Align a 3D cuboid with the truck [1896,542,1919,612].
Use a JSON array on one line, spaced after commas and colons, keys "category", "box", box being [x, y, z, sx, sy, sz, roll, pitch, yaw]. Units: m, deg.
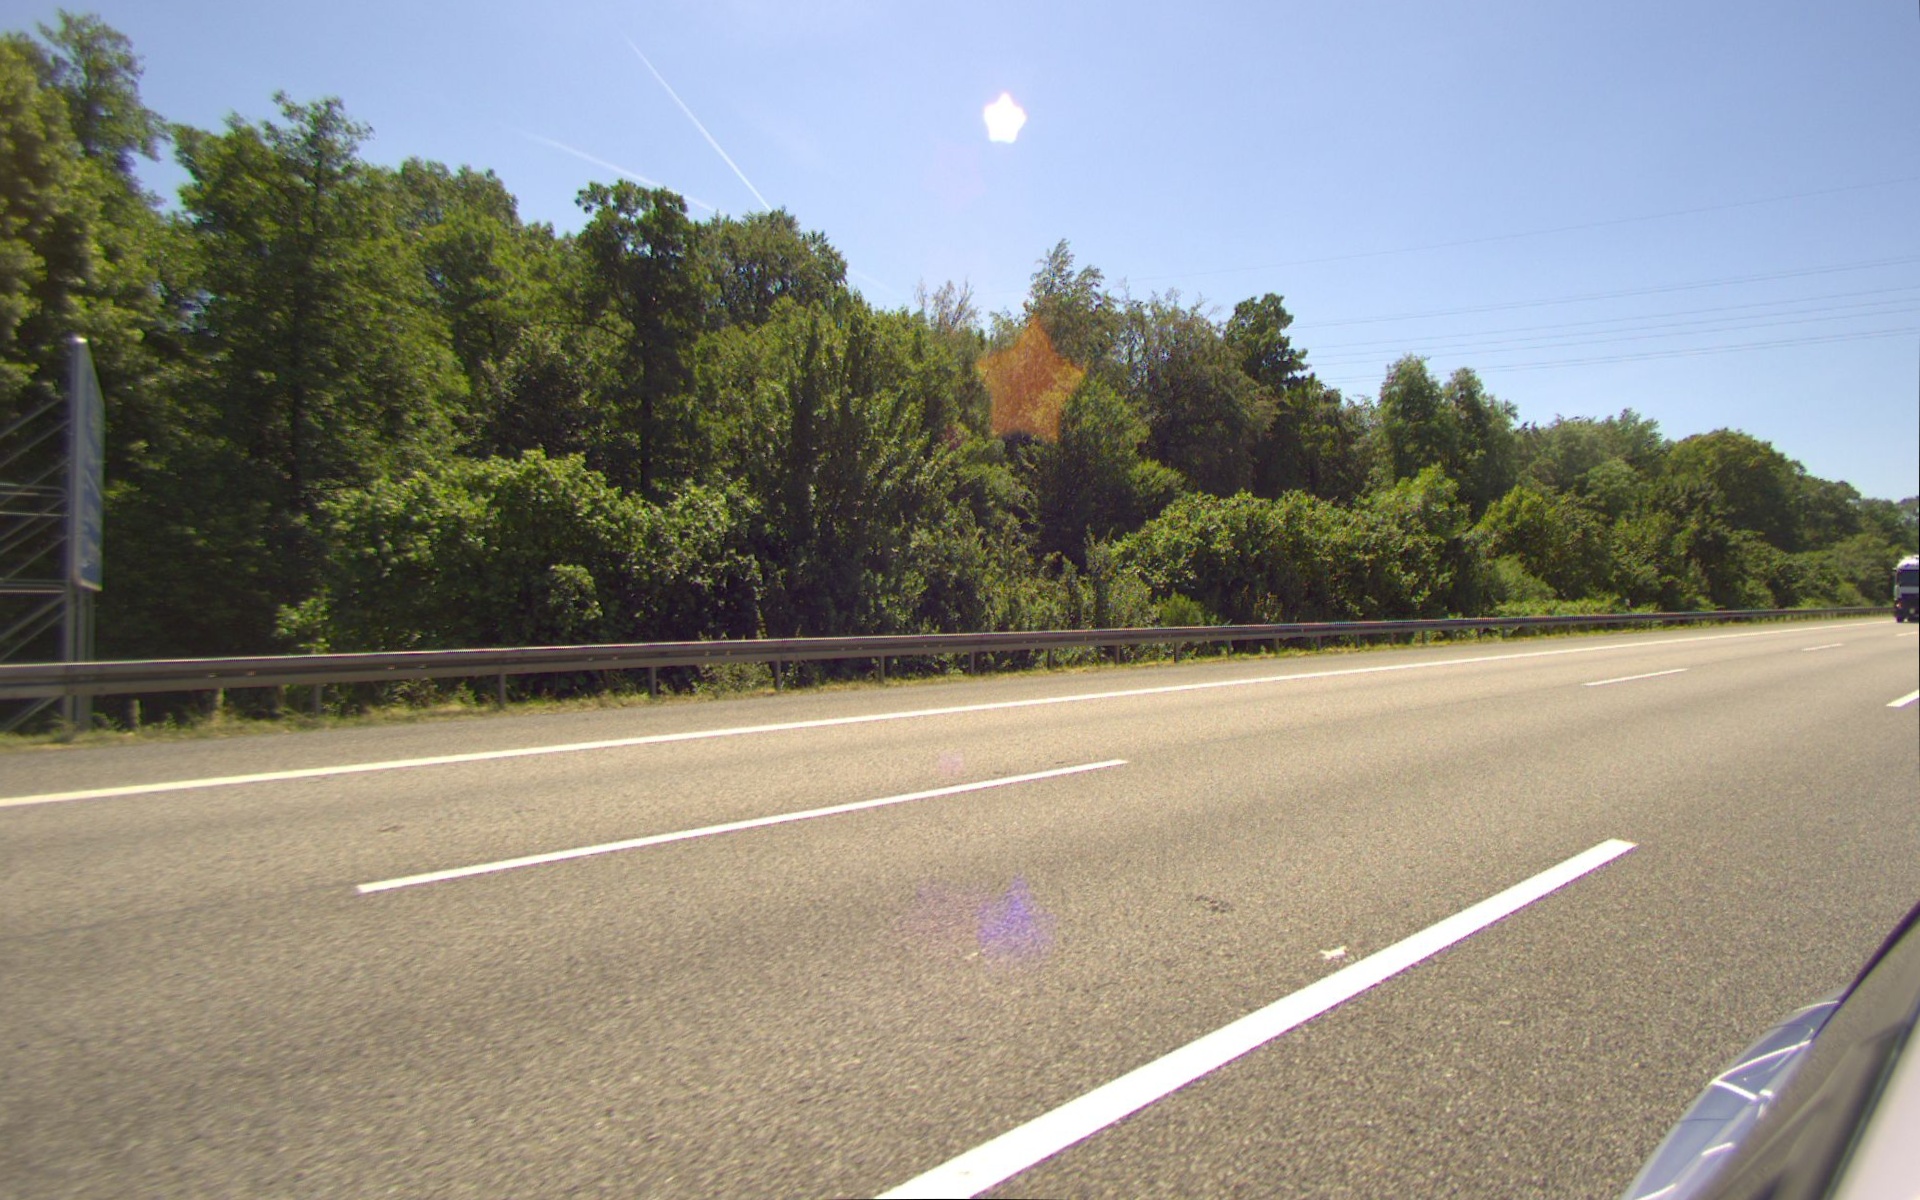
[{"category": "truck", "box": [61.400, -1.411, 62.631, 14.192, 4.020, 3.049, -1, 1, -39]}]
